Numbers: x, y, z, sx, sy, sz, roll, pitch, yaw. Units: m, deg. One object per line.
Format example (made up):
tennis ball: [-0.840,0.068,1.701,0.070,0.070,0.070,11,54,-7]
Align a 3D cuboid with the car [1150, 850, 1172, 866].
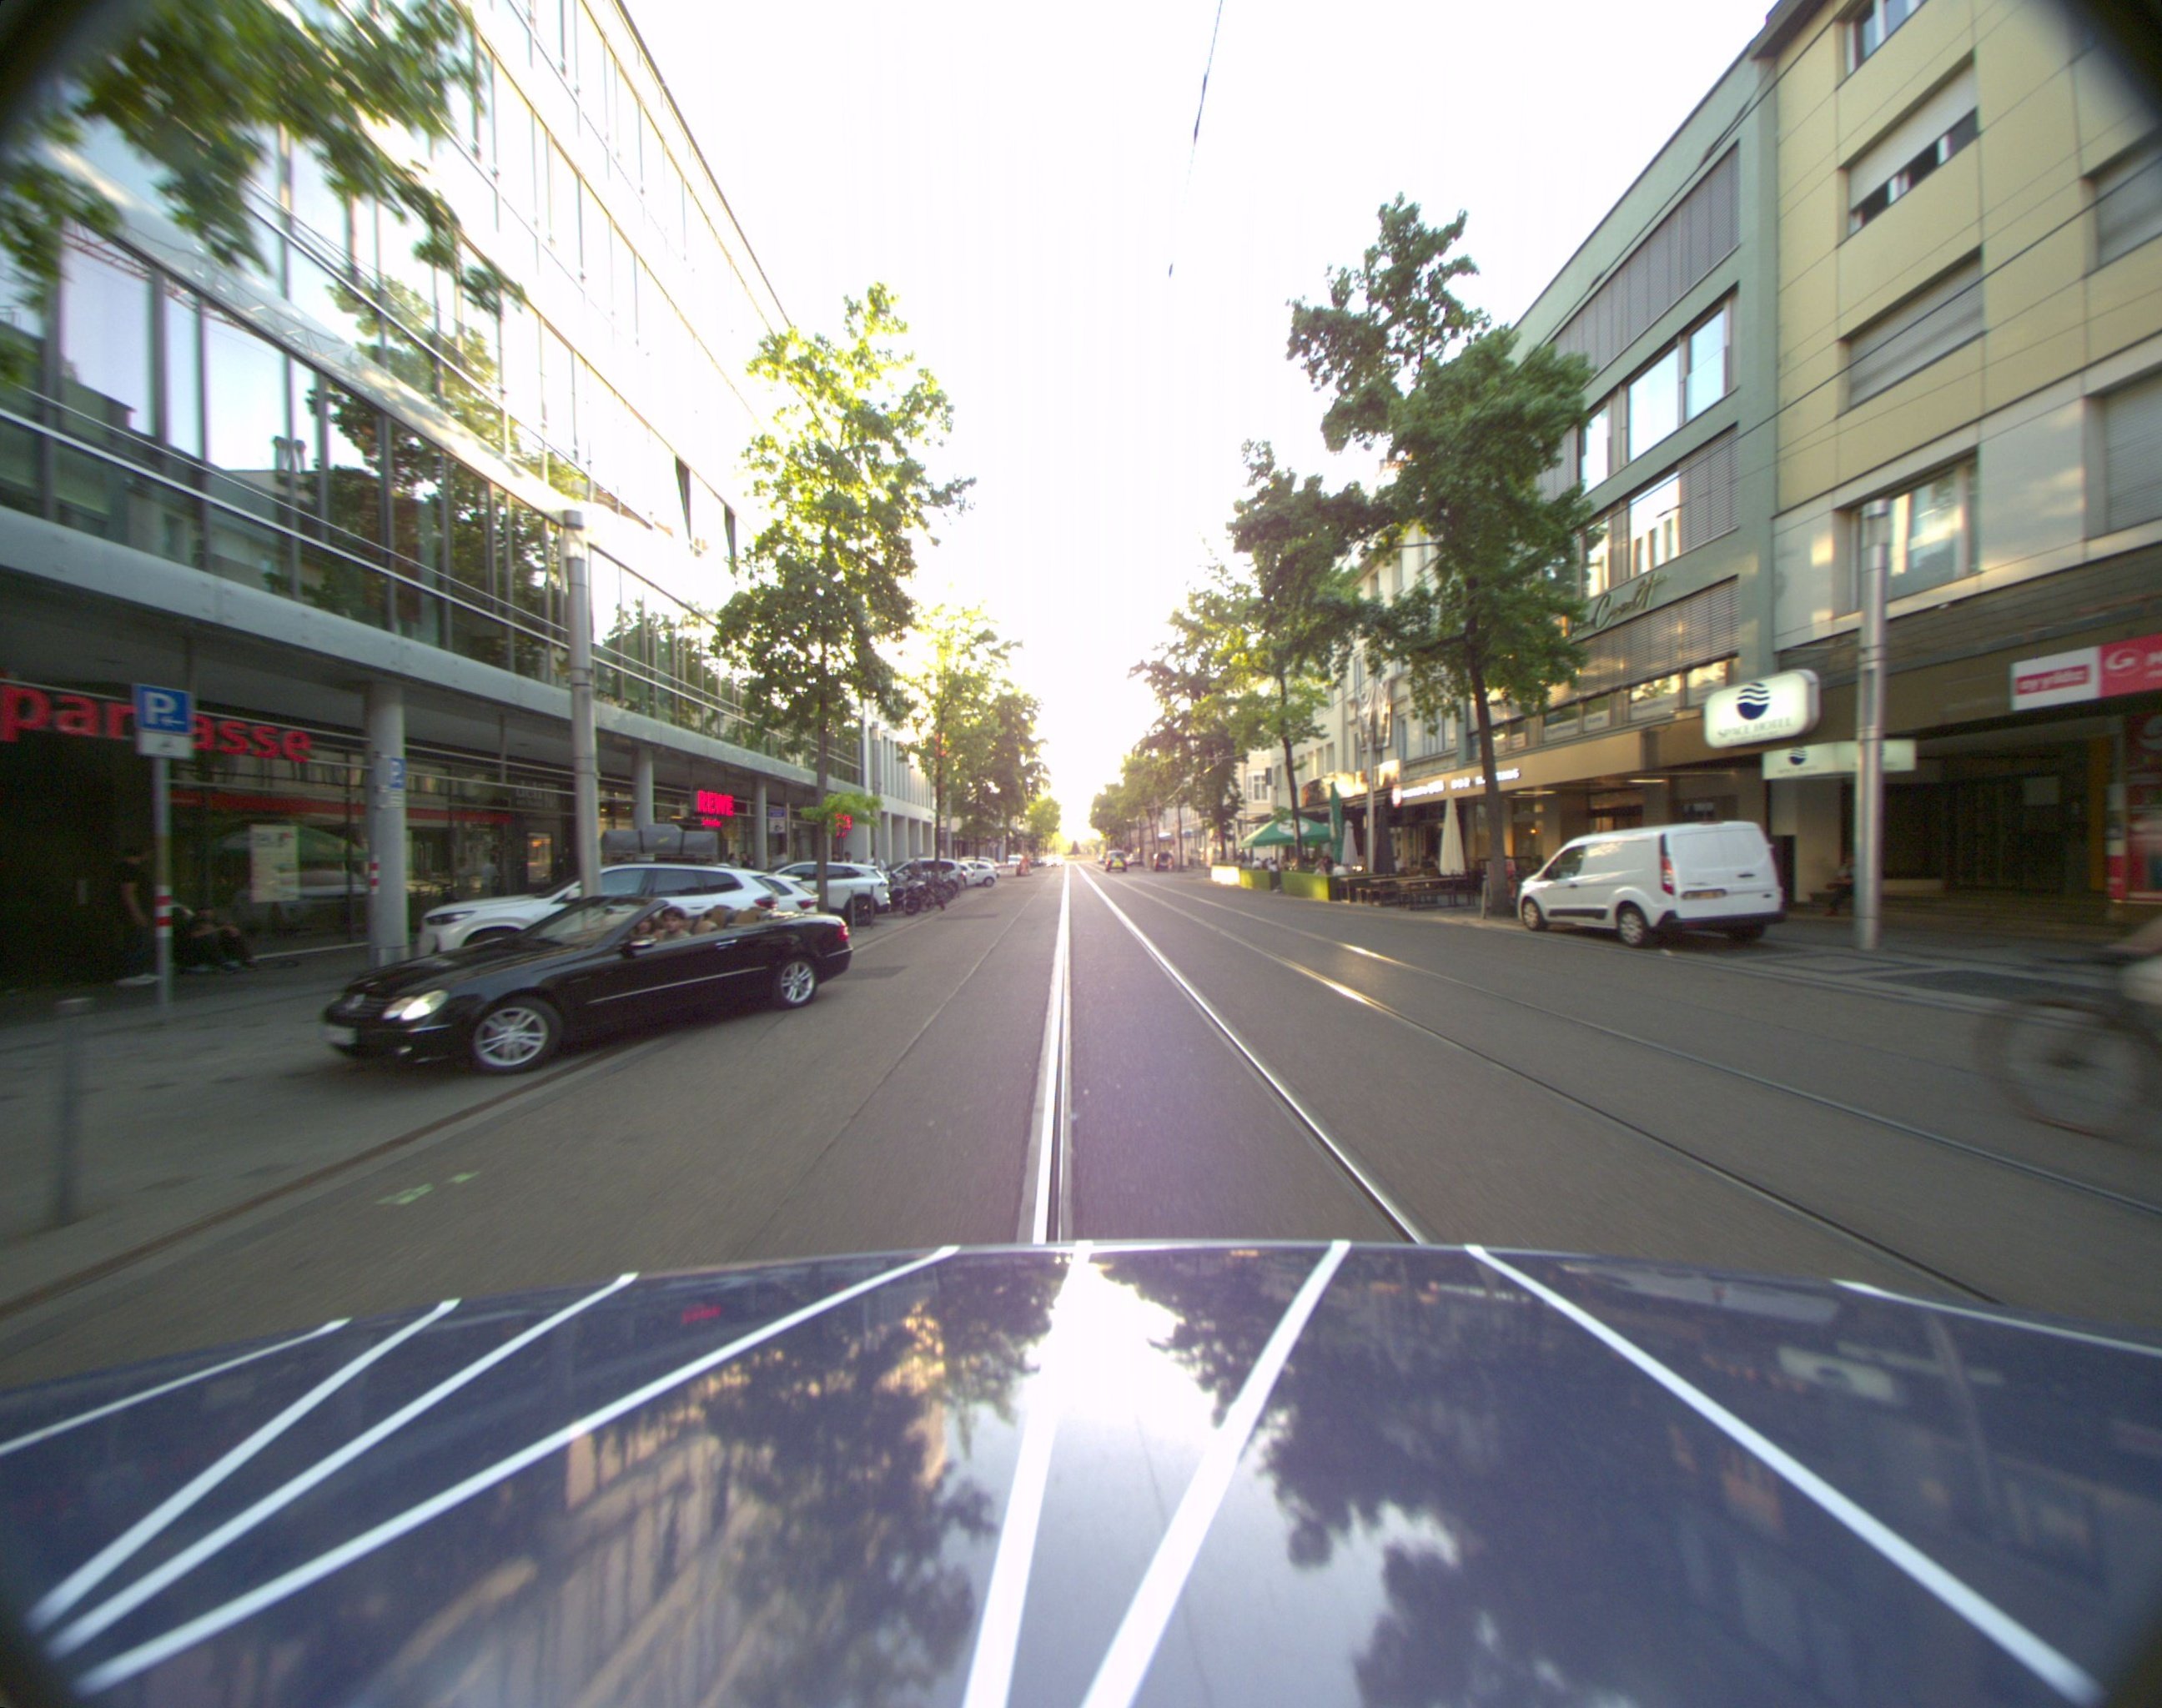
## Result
car: [7.797,0.386,74.368,1.799,1.501,4.000,-1,0,0]

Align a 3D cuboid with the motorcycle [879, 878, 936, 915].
motorcycle: [-5.326,1.295,23.313,1.574,1.093,0.627,1,0,-25]

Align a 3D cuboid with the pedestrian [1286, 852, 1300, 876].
pedestrian: [12.860,0.619,46.137,0.650,1.451,0.650,-1,1,-2]

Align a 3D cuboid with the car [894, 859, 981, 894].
car: [-7.485,1.176,39.770,4.005,1.501,1.796,-4,1,-30]

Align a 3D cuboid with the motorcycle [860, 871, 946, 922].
motorcycle: [-5.088,1.176,21.824,1.153,1.346,2.115,1,0,41]

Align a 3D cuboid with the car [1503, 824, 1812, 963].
car: [9.183,0.543,12.679,1.830,1.811,4.329,-4,0,1]

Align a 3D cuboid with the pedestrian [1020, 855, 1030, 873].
pedestrian: [-4.727,0.848,63.980,0.650,1.451,0.649,-1,1,-17]

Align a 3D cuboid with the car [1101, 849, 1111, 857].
car: [4.721,-0.240,146.259,1.799,1.501,4.000,0,0,0]

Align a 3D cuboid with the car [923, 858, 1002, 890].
car: [-6.750,1.112,43.323,4.005,1.501,1.861,-4,1,-30]

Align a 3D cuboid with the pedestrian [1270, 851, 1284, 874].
pedestrian: [12.399,0.528,48.023,0.650,1.451,0.650,-1,1,-2]

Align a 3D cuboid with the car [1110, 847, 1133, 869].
car: [3.866,0.360,72.589,1.998,2.002,4.000,-1,0,0]

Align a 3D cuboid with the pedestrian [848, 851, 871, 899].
pedestrian: [-7.924,0.735,27.225,0.618,1.681,0.628,0,1,0]

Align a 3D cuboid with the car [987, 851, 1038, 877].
car: [-5.493,0.781,60.997,1.860,1.776,4.007,-3,1,34]

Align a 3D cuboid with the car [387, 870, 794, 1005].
car: [-6.860,1.059,11.168,4.646,1.619,1.914,1,-2,-32]

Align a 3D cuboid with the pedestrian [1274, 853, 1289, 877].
pedestrian: [12.157,0.642,46.073,0.650,1.451,0.650,-1,1,-2]

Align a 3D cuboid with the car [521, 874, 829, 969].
car: [-7.173,1.114,13.867,4.645,1.431,1.914,1,0,-28]

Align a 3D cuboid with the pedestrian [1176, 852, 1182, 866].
pedestrian: [9.913,0.534,77.194,0.490,1.451,0.543,-1,1,-2]

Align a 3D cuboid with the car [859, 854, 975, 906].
car: [-7.069,1.102,32.957,4.474,1.869,1.796,-4,1,-37]

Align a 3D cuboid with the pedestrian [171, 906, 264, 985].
pedestrian: [-12.125,1.269,10.685,0.628,1.030,0.558,0,1,-9]

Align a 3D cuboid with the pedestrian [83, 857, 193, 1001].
pedestrian: [-11.933,0.928,9.638,0.558,1.762,0.628,0,1,0]

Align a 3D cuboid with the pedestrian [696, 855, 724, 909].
pedestrian: [-11.826,0.893,24.254,0.558,1.681,0.628,0,1,0]

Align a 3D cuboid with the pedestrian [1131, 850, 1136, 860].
pedestrian: [7.235,0.146,104.635,0.650,1.451,0.650,-1,1,-2]

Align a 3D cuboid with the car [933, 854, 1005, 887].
car: [-7.071,1.020,48.032,4.004,1.776,1.861,-4,1,-24]

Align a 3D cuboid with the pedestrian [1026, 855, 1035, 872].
pedestrian: [-4.420,0.810,66.558,0.650,1.451,0.649,-1,1,-17]

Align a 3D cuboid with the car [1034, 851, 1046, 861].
car: [-6.588,0.293,122.653,1.793,1.499,3.999,-2,1,0]

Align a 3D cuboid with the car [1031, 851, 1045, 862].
car: [-6.562,0.373,115.418,1.793,1.499,3.999,-2,1,0]

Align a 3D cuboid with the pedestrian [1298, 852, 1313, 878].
pedestrian: [12.997,0.638,44.047,0.650,1.451,0.650,-1,1,-2]

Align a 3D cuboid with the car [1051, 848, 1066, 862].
car: [-3.292,0.205,112.296,1.998,2.002,4.000,-1,0,0]

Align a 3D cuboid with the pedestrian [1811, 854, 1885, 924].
pedestrian: [13.532,0.599,13.415,0.650,1.168,0.650,-2,1,-6]

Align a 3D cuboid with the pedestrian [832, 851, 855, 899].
pedestrian: [-8.465,0.754,27.107,0.618,1.681,0.628,0,1,0]

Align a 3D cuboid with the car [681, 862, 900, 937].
car: [-6.998,1.027,18.500,4.646,1.578,1.913,1,0,-35]

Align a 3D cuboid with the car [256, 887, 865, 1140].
car: [-4.488,1.183,7.486,1.795,1.400,4.573,-2,0,28]

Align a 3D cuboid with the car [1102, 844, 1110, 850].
car: [6.300,-1.717,193.823,1.799,1.501,4.000,0,0,0]
